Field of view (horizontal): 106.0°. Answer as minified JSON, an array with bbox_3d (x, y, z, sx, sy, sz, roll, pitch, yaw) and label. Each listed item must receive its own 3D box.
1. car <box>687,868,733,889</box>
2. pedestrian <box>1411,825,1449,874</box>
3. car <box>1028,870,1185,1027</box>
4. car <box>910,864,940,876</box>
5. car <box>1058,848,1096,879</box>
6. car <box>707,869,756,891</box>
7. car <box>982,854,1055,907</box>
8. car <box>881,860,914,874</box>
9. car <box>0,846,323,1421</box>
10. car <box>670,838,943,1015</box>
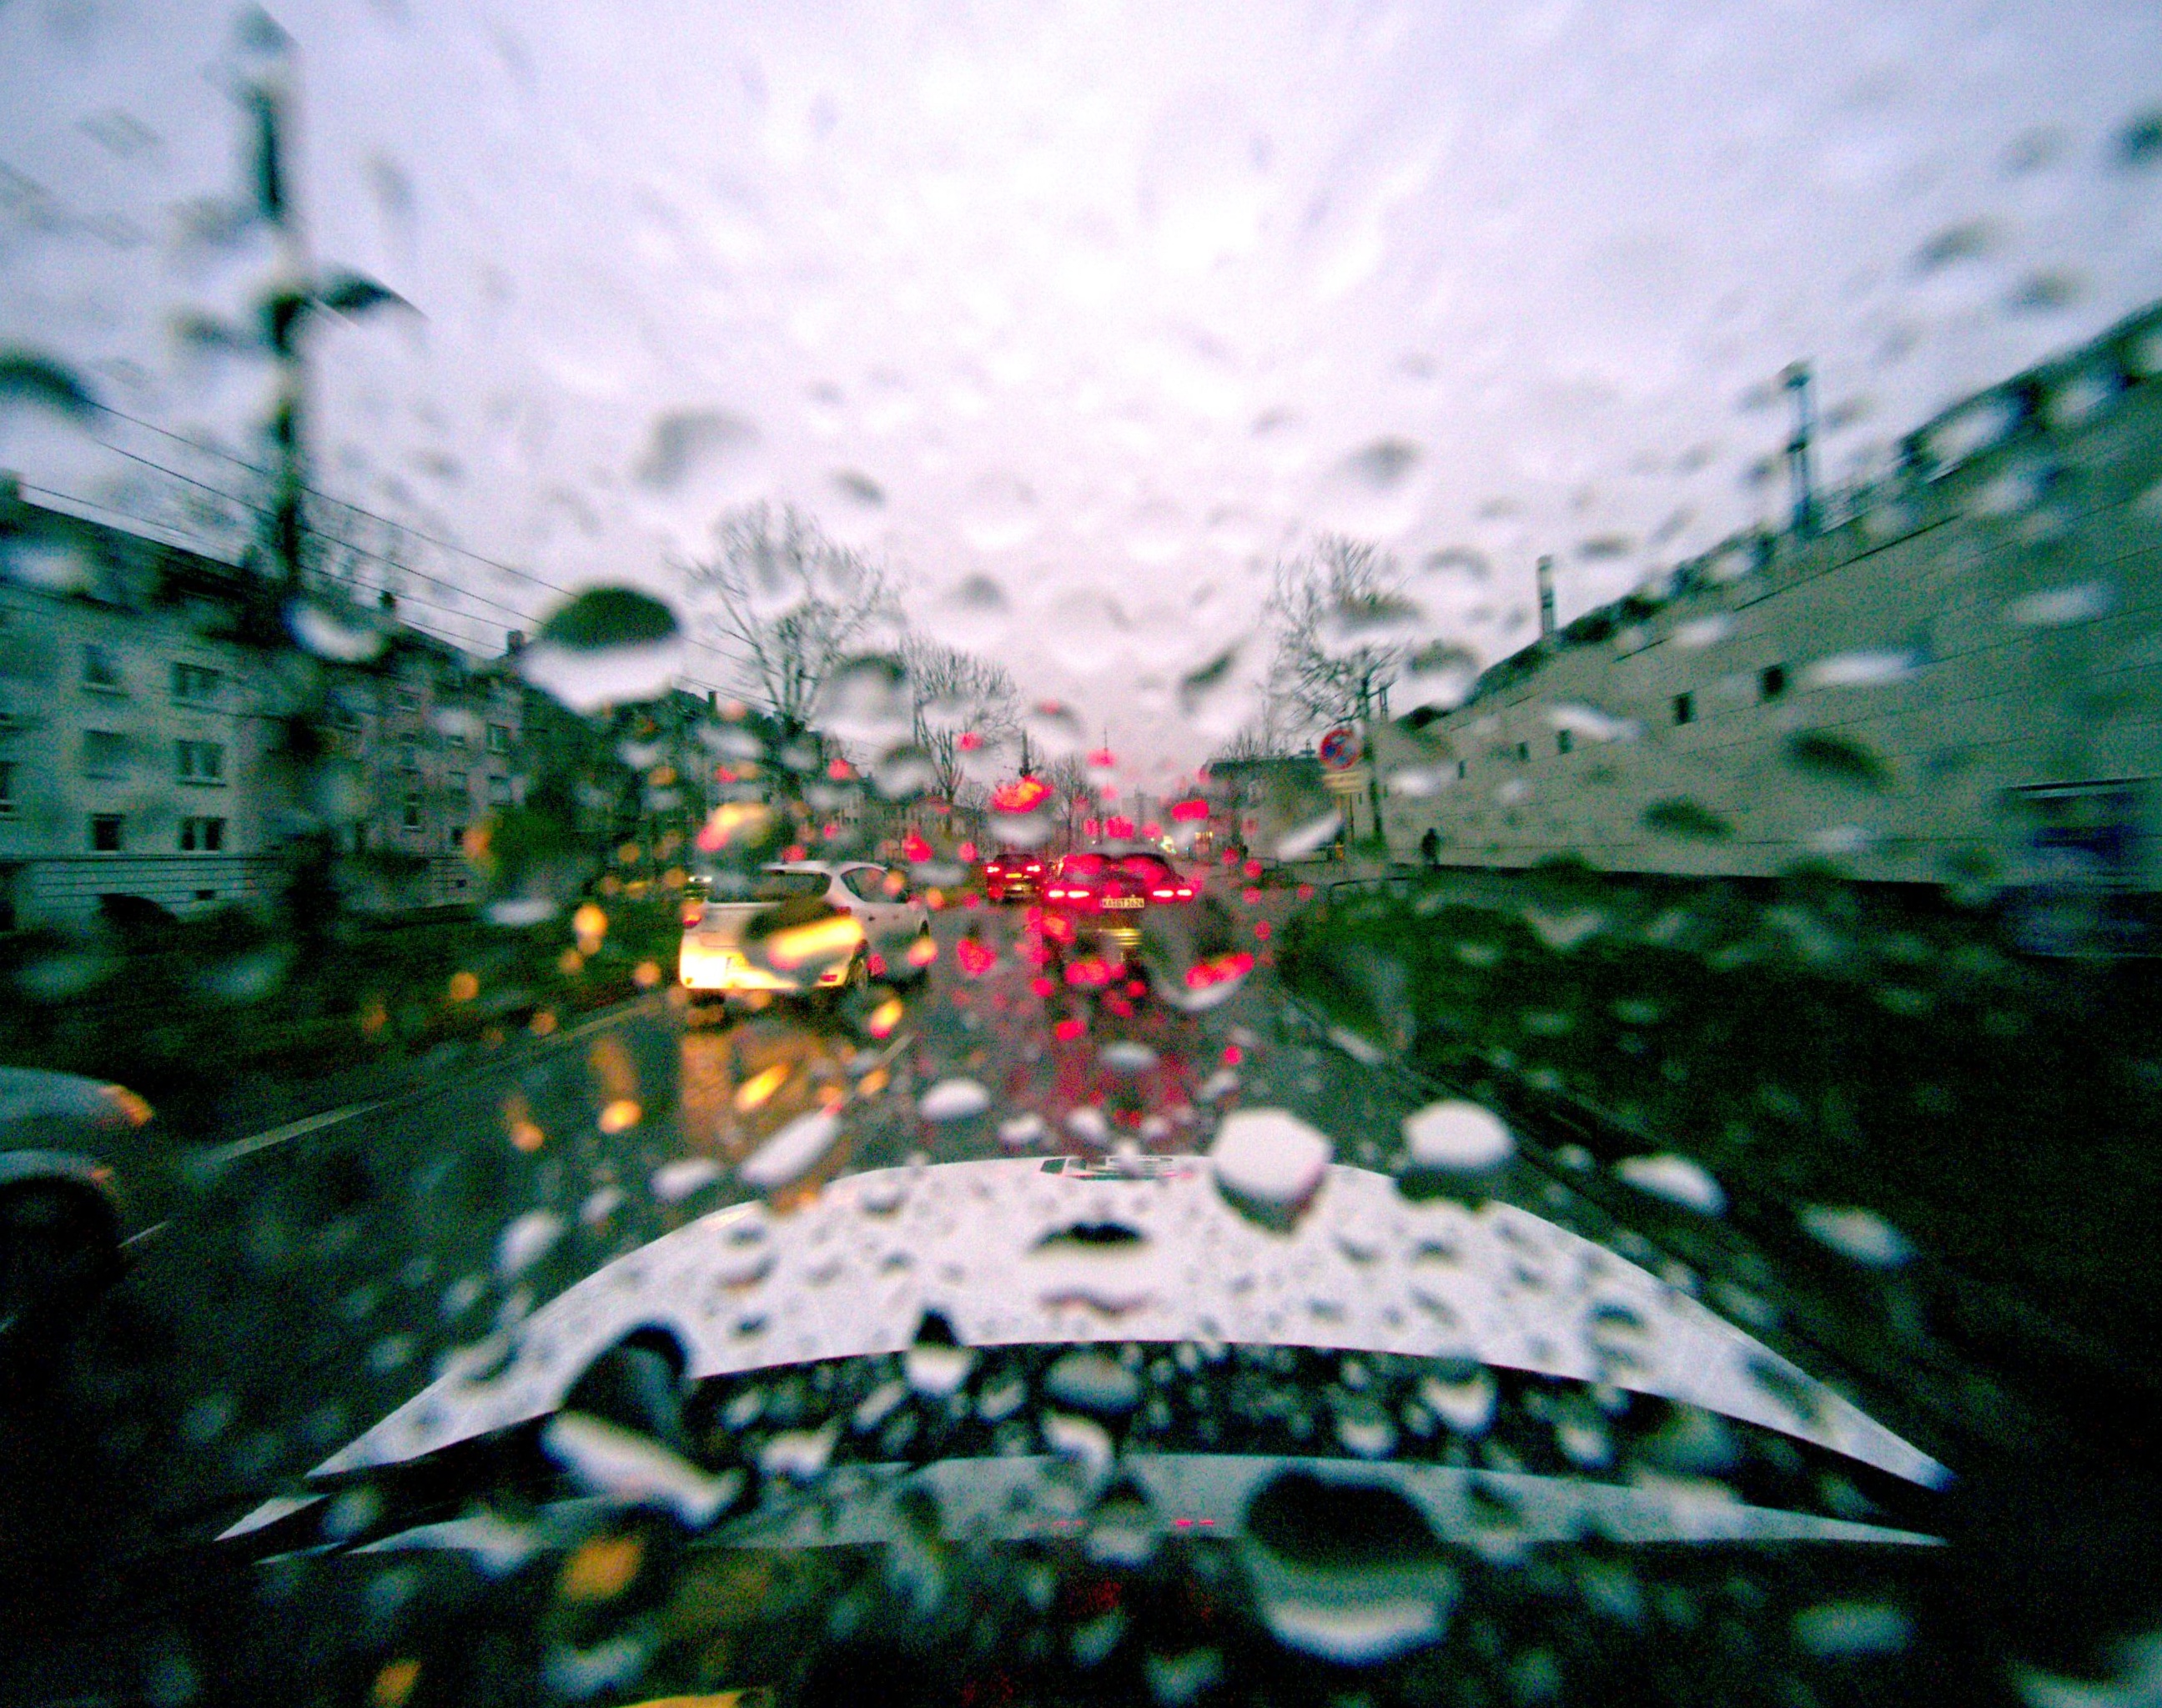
[{"bbox_3d":[-29.454,1.940,64.761,1.767,1.500,3.562,-3,0,5],"label":"car"},{"bbox_3d":[11.949,-0.143,27.881,0.934,1.618,0.695,-3,0,2],"label":"pedestrian"},{"bbox_3d":[0.480,1.077,10.852,1.663,1.600,4.060,-1,0,6],"label":"car"},{"bbox_3d":[-19.603,2.001,102.265,3.510,1.354,1.793,-3,0,39],"label":"car"},{"bbox_3d":[-0.166,0.494,45.558,1.663,1.600,4.060,-1,0,6],"label":"car"},{"bbox_3d":[-25.647,1.907,59.943,1.767,1.354,3.562,-3,0,5],"label":"car"},{"bbox_3d":[-2.001,0.824,27.121,1.663,1.600,4.060,-1,0,6],"label":"car"},{"bbox_3d":[-20.717,1.443,91.886,3.510,1.354,1.793,-3,0,39],"label":"car"},{"bbox_3d":[-3.924,0.795,1.191,1.803,1.600,4.052,-1,0,0],"label":"car"},{"bbox_3d":[-2.892,0.675,9.570,1.665,1.600,4.055,-1,0,2],"label":"car"}]
